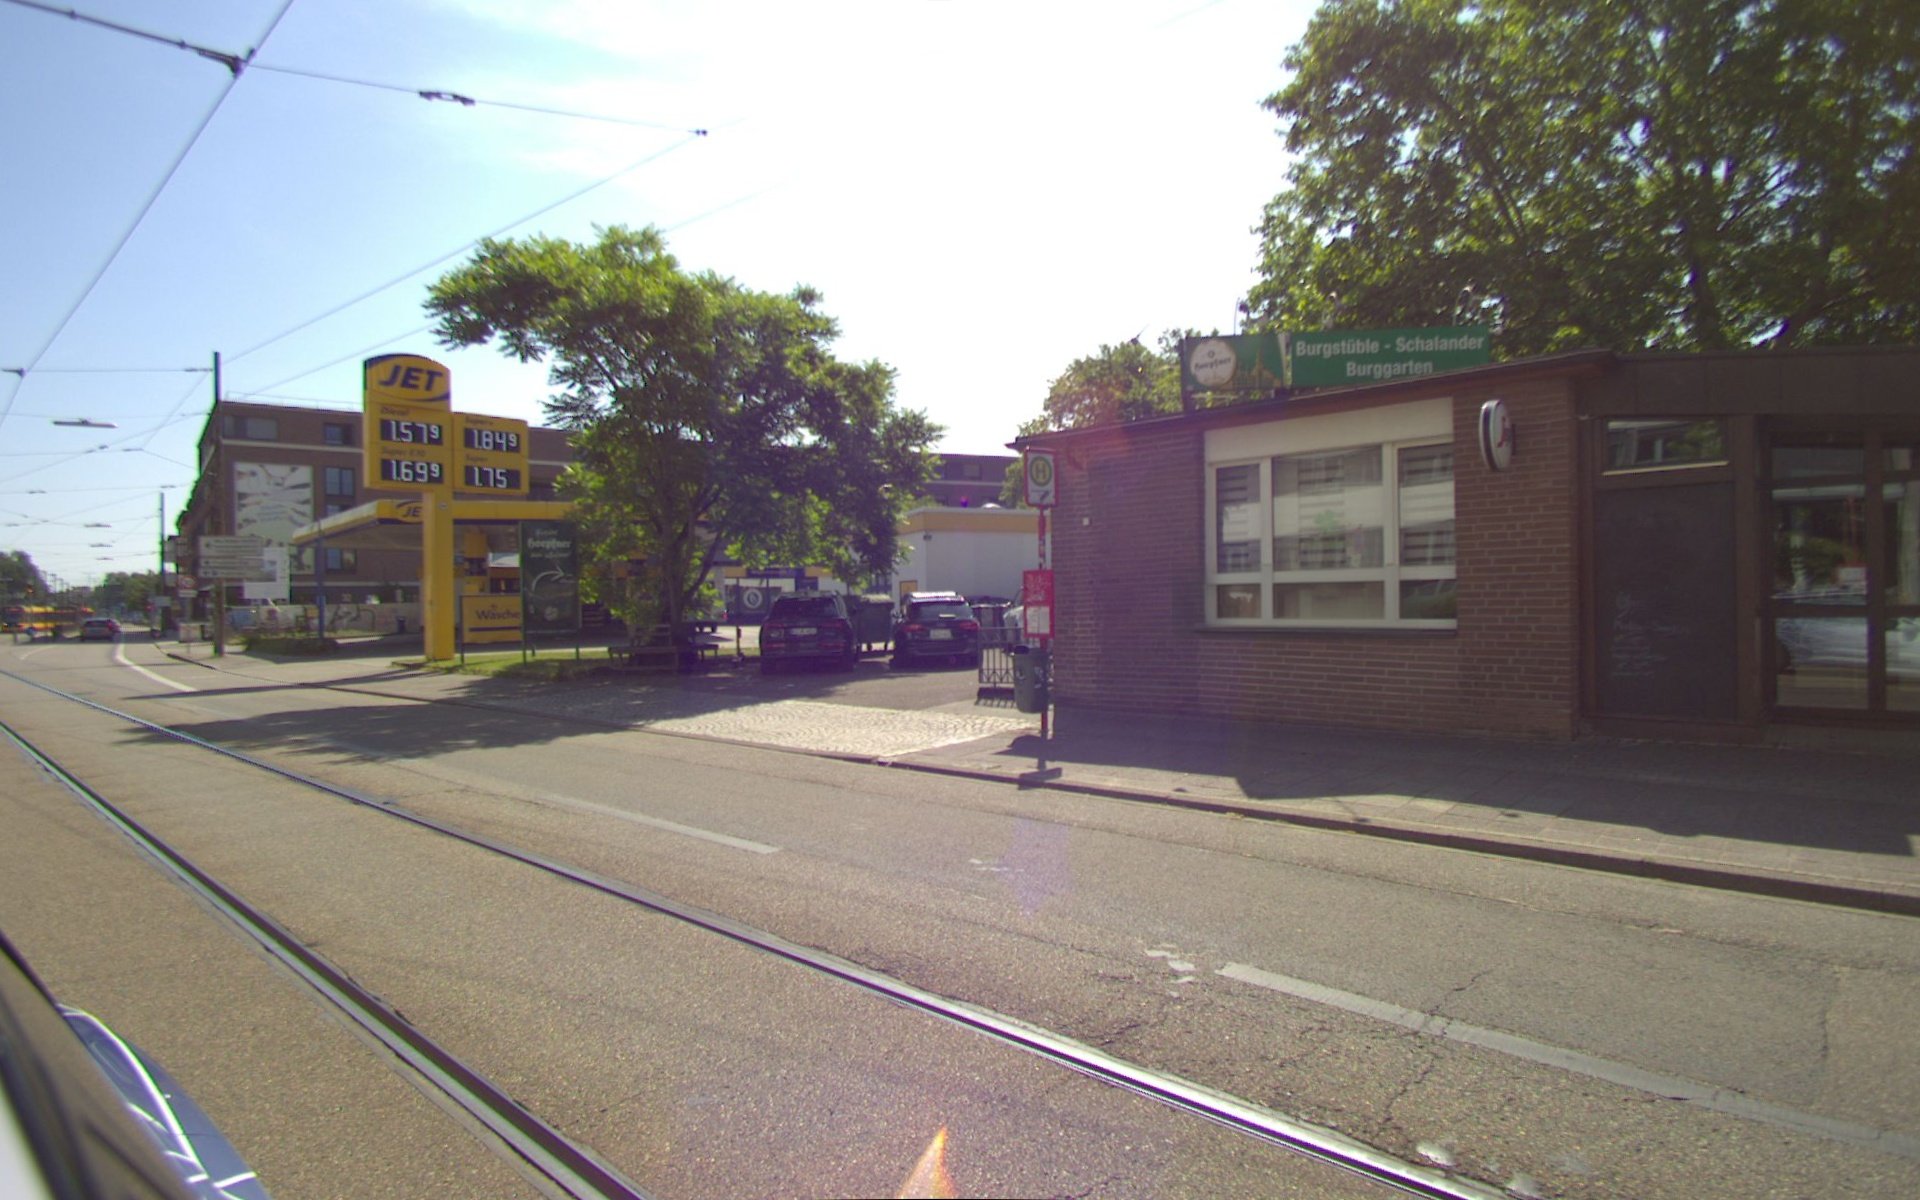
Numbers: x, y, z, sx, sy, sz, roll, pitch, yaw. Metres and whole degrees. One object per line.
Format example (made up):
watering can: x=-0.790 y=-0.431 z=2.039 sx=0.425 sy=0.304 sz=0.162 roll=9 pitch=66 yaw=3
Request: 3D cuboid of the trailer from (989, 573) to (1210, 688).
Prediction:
trailer: x=2.170 y=0.394 z=15.285 sx=1.778 sy=1.537 sz=3.180 roll=-1 pitch=0 yaw=43

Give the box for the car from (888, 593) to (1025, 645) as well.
car: x=-0.113 y=0.596 z=33.630 sx=4.099 sy=1.538 sz=1.944 roll=-1 pitch=0 yaw=-22

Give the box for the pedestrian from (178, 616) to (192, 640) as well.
pedestrian: x=-60.587 y=2.205 z=79.097 sx=0.834 sy=1.833 sz=0.840 roll=-1 pitch=-1 yaw=-40

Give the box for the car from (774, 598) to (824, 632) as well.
car: x=-9.628 y=0.848 z=60.163 sx=1.748 sy=1.775 sz=4.489 roll=-3 pitch=2 yaw=-24

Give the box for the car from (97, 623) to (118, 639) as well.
car: x=-94.322 y=3.402 z=111.985 sx=1.690 sy=1.634 sz=3.585 roll=-2 pitch=0 yaw=-40

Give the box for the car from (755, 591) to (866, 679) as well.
car: x=-3.068 y=0.672 z=21.617 sx=1.921 sy=1.637 sz=4.582 roll=-1 pitch=0 yaw=-3

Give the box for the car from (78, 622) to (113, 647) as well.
car: x=-59.185 y=2.327 z=69.286 sx=1.725 sy=1.583 sz=3.896 roll=1 pitch=-1 yaw=-42

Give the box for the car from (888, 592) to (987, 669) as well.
car: x=-0.582 y=0.605 z=22.243 sx=1.921 sy=1.479 sz=4.582 roll=-1 pitch=0 yaw=-3

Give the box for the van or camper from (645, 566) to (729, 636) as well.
van or camper: x=-13.200 y=0.024 z=48.614 sx=2.571 sy=2.989 sz=6.735 roll=-4 pitch=2 yaw=-25

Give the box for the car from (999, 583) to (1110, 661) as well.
car: x=2.099 y=0.469 z=23.706 sx=1.921 sy=1.595 sz=4.581 roll=-1 pitch=0 yaw=-3

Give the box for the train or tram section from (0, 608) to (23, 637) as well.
train or tram section: x=-119.191 y=2.813 z=126.721 sx=2.648 sy=3.507 sz=13.351 roll=-1 pitch=-1 yaw=-43
